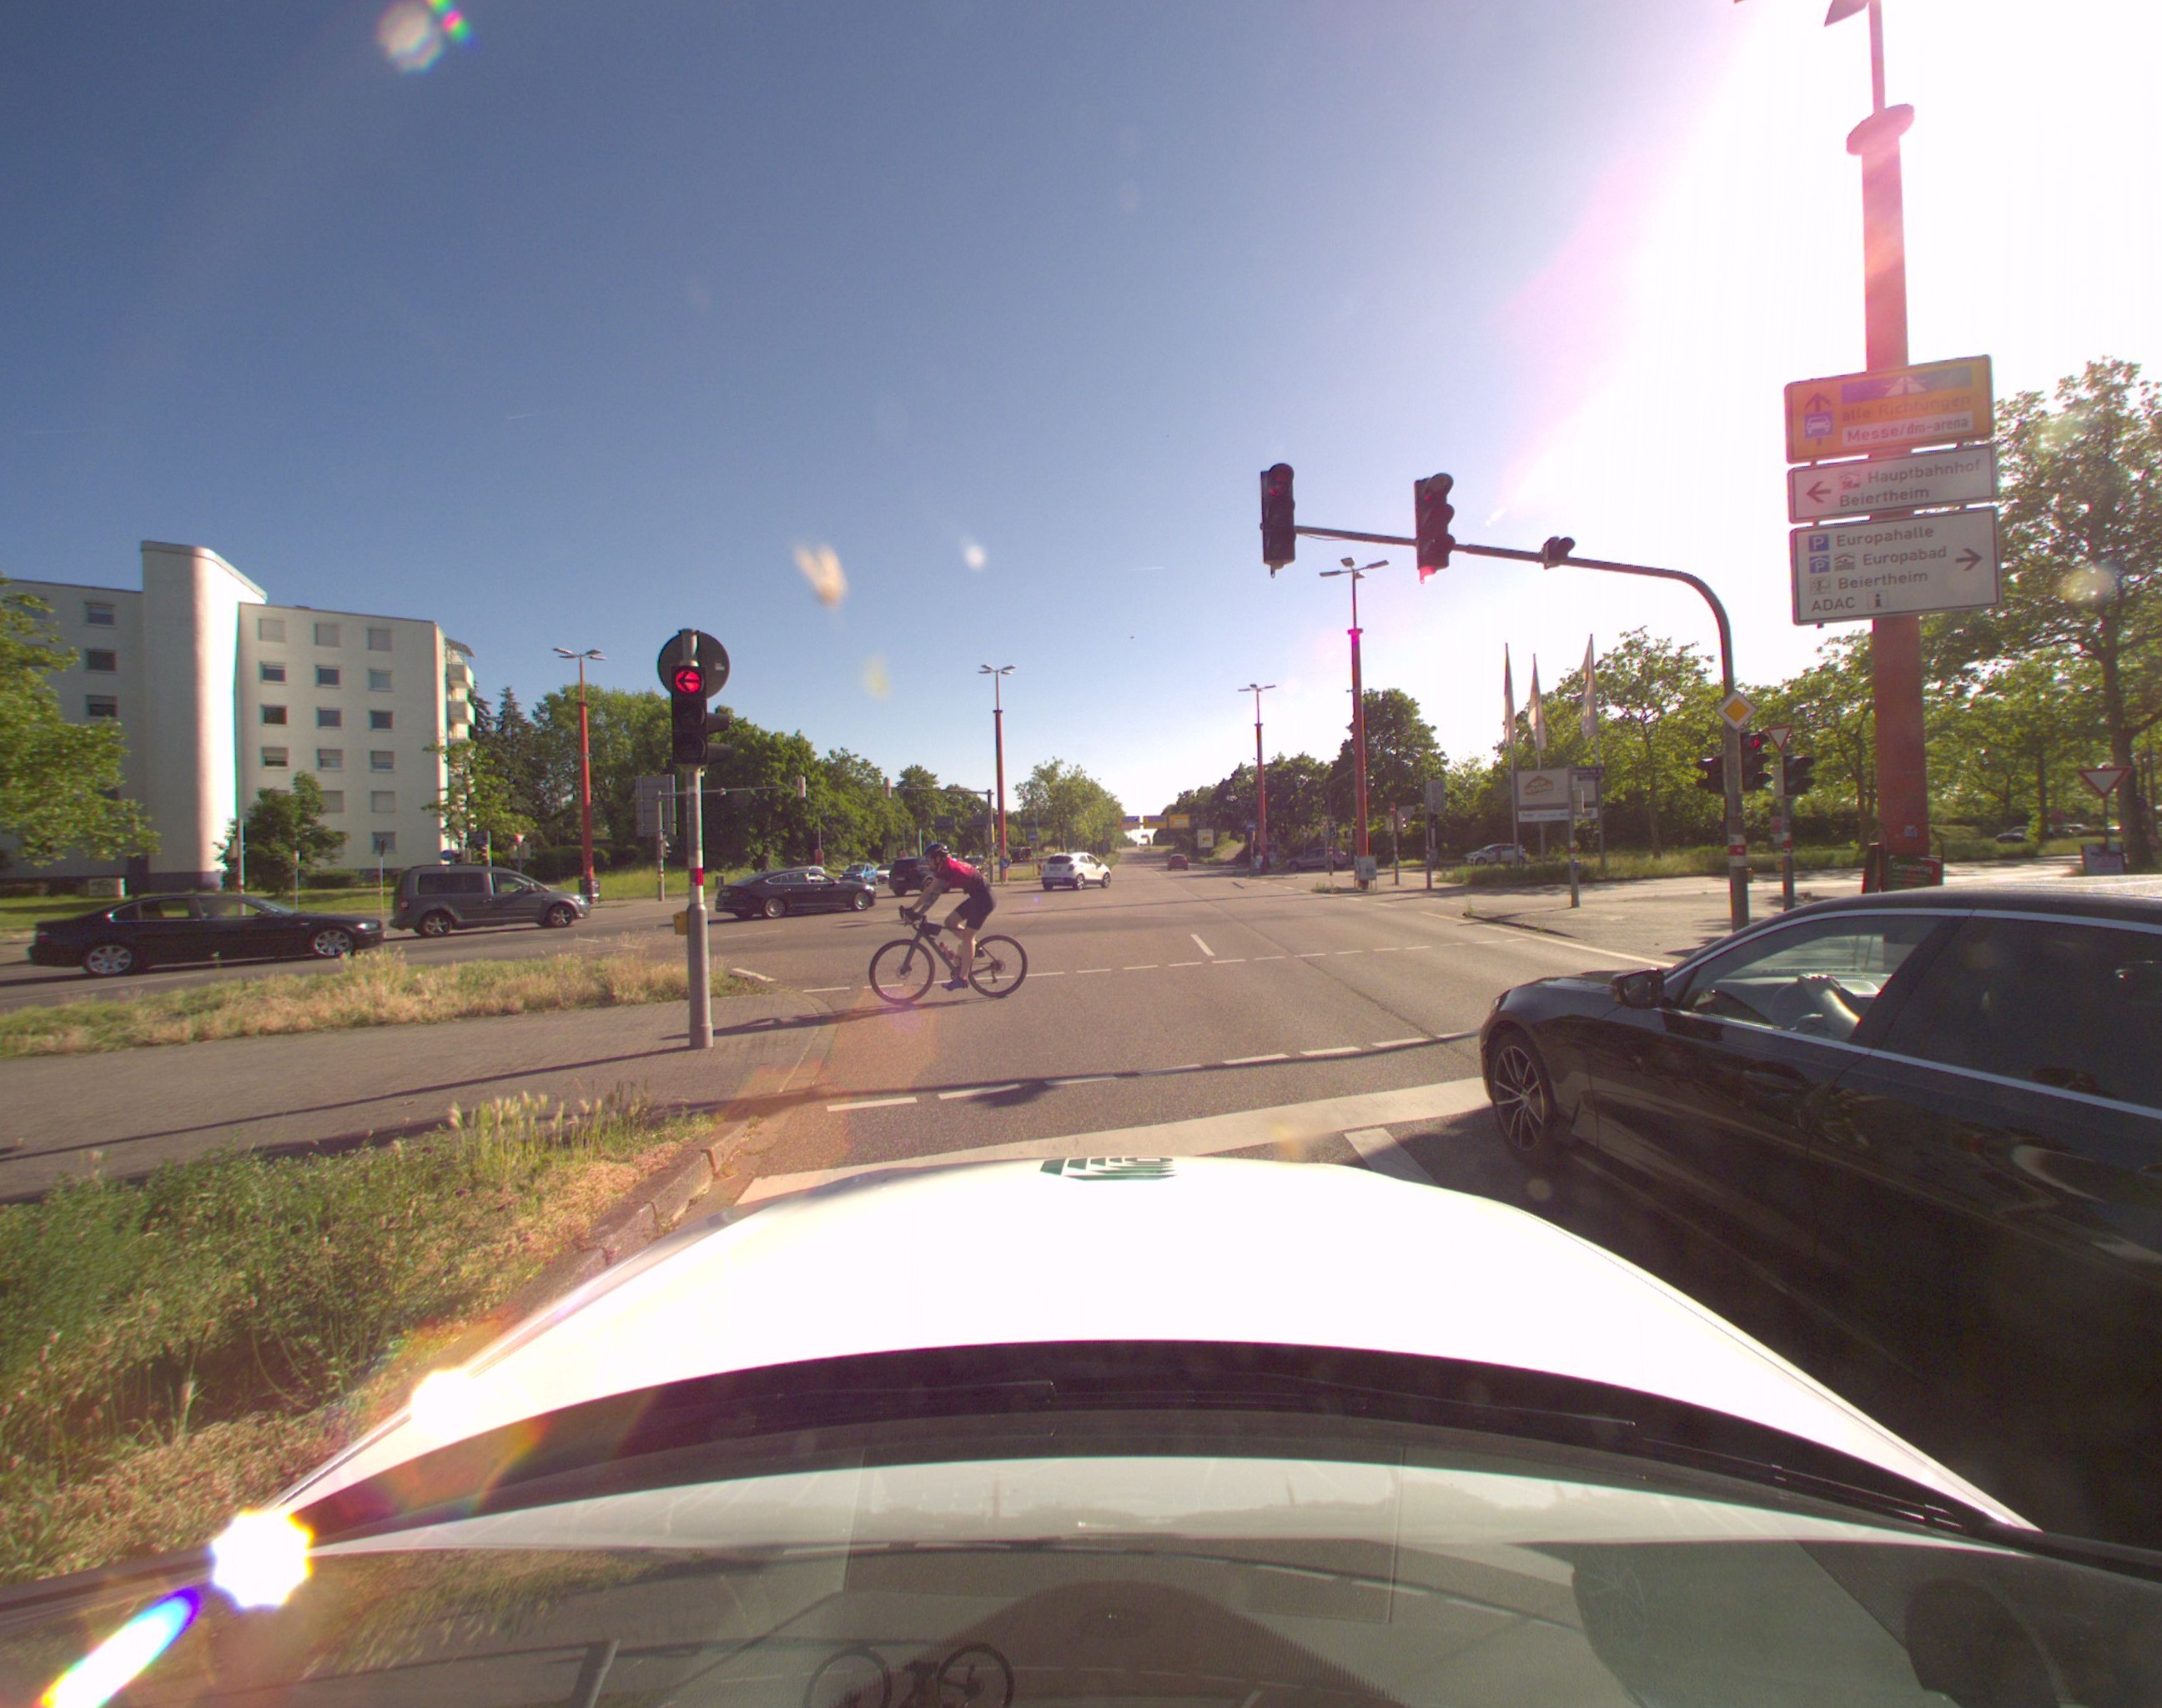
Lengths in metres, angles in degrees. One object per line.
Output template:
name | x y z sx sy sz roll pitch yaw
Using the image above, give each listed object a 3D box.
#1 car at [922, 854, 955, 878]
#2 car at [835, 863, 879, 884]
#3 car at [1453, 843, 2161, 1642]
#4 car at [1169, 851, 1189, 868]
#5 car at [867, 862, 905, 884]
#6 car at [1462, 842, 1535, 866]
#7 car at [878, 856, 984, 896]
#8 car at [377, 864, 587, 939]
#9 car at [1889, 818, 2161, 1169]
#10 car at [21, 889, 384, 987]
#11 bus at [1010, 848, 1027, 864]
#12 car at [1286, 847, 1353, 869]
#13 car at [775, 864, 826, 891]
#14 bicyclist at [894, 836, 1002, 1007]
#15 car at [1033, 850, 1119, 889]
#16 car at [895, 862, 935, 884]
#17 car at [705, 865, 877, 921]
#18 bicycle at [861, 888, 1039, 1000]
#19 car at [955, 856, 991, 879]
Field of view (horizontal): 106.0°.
car | -12.495 1.032 71.719 1.886 2.026 5.224 -1 -1 1
car | -14.091 1.210 51.424 1.733 1.243 3.613 -2 0 1
car | 2.917 0.688 2.377 1.861 1.398 4.448 -2 0 4
car | 8.946 0.455 74.391 1.671 1.435 4.074 -2 0 8
car | -13.676 1.317 57.362 1.733 1.411 3.613 -2 0 1
car | 27.922 -0.004 54.558 3.959 1.467 1.688 -2 0 8
car | -6.339 0.906 34.901 1.834 1.545 4.289 -2 0 38
car | -16.019 1.192 21.928 4.332 1.708 1.829 -2 0 -44
car | 5.664 0.602 2.865 1.732 1.578 4.032 -2 0 3
car | -16.058 1.457 15.313 4.384 1.350 1.745 -2 0 -38
bus | -13.707 0.420 178.935 2.482 3.238 10.005 -2 0 2
car | 17.300 0.292 59.231 4.273 1.485 1.797 -2 0 35
car | -17.581 1.454 51.197 1.754 1.532 3.936 -2 0 1
bicyclist | -1.479 0.700 8.969 0.998 1.741 0.731 -2 0 -22
car | -0.159 0.668 36.798 1.805 1.636 4.280 -2 0 33
car | -10.606 1.187 52.311 1.733 1.243 3.613 -2 0 1
car | -8.284 1.071 23.620 1.743 1.350 4.390 -2 0 40
bicycle | -1.452 0.951 9.002 1.831 1.057 0.718 -2 0 -20
car | -7.413 0.909 56.343 1.812 1.508 4.002 -2 0 2
